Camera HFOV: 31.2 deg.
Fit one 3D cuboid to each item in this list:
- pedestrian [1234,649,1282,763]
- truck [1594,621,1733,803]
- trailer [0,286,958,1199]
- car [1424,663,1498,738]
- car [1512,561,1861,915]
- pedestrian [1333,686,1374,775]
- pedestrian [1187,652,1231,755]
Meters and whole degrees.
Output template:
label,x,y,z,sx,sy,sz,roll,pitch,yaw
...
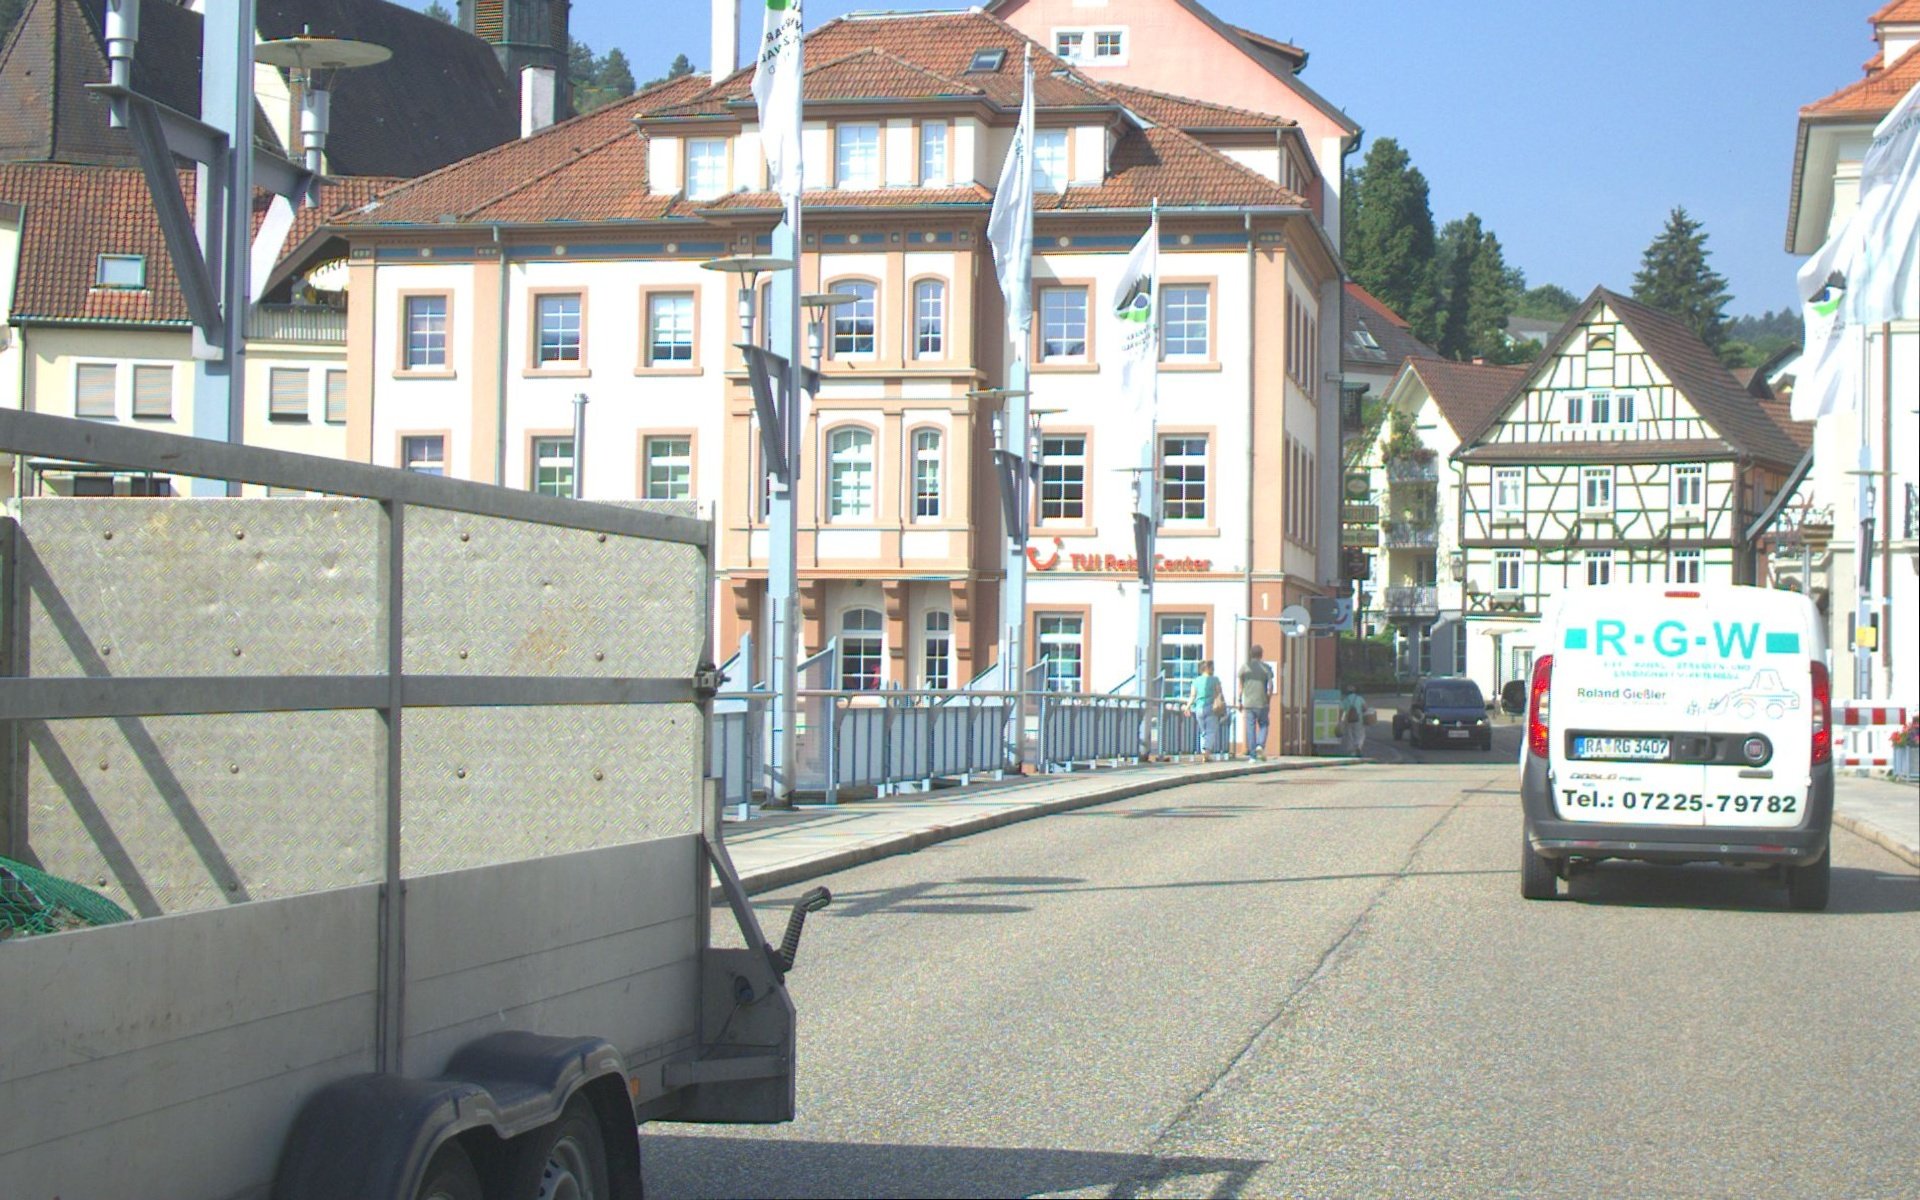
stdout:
label,x,y,z,sx,sy,sz,roll,pitch,yaw
pedestrian,4.668,1.651,53.839,0.615,1.756,0.863,2,-1,10
truck,10.586,1.679,51.942,1.862,2.577,4.258,1,-2,10
trailer,-1.901,0.567,6.176,2.612,1.821,5.634,0,0,13
car,12.756,2.534,87.409,1.777,1.786,4.695,2,-1,9
car,4.409,0.824,21.180,1.845,1.900,4.312,2,-2,10
pedestrian,8.357,2.772,73.050,0.804,1.851,0.616,1,-1,10
pedestrian,3.916,1.624,54.061,0.584,1.604,0.537,2,-1,10
